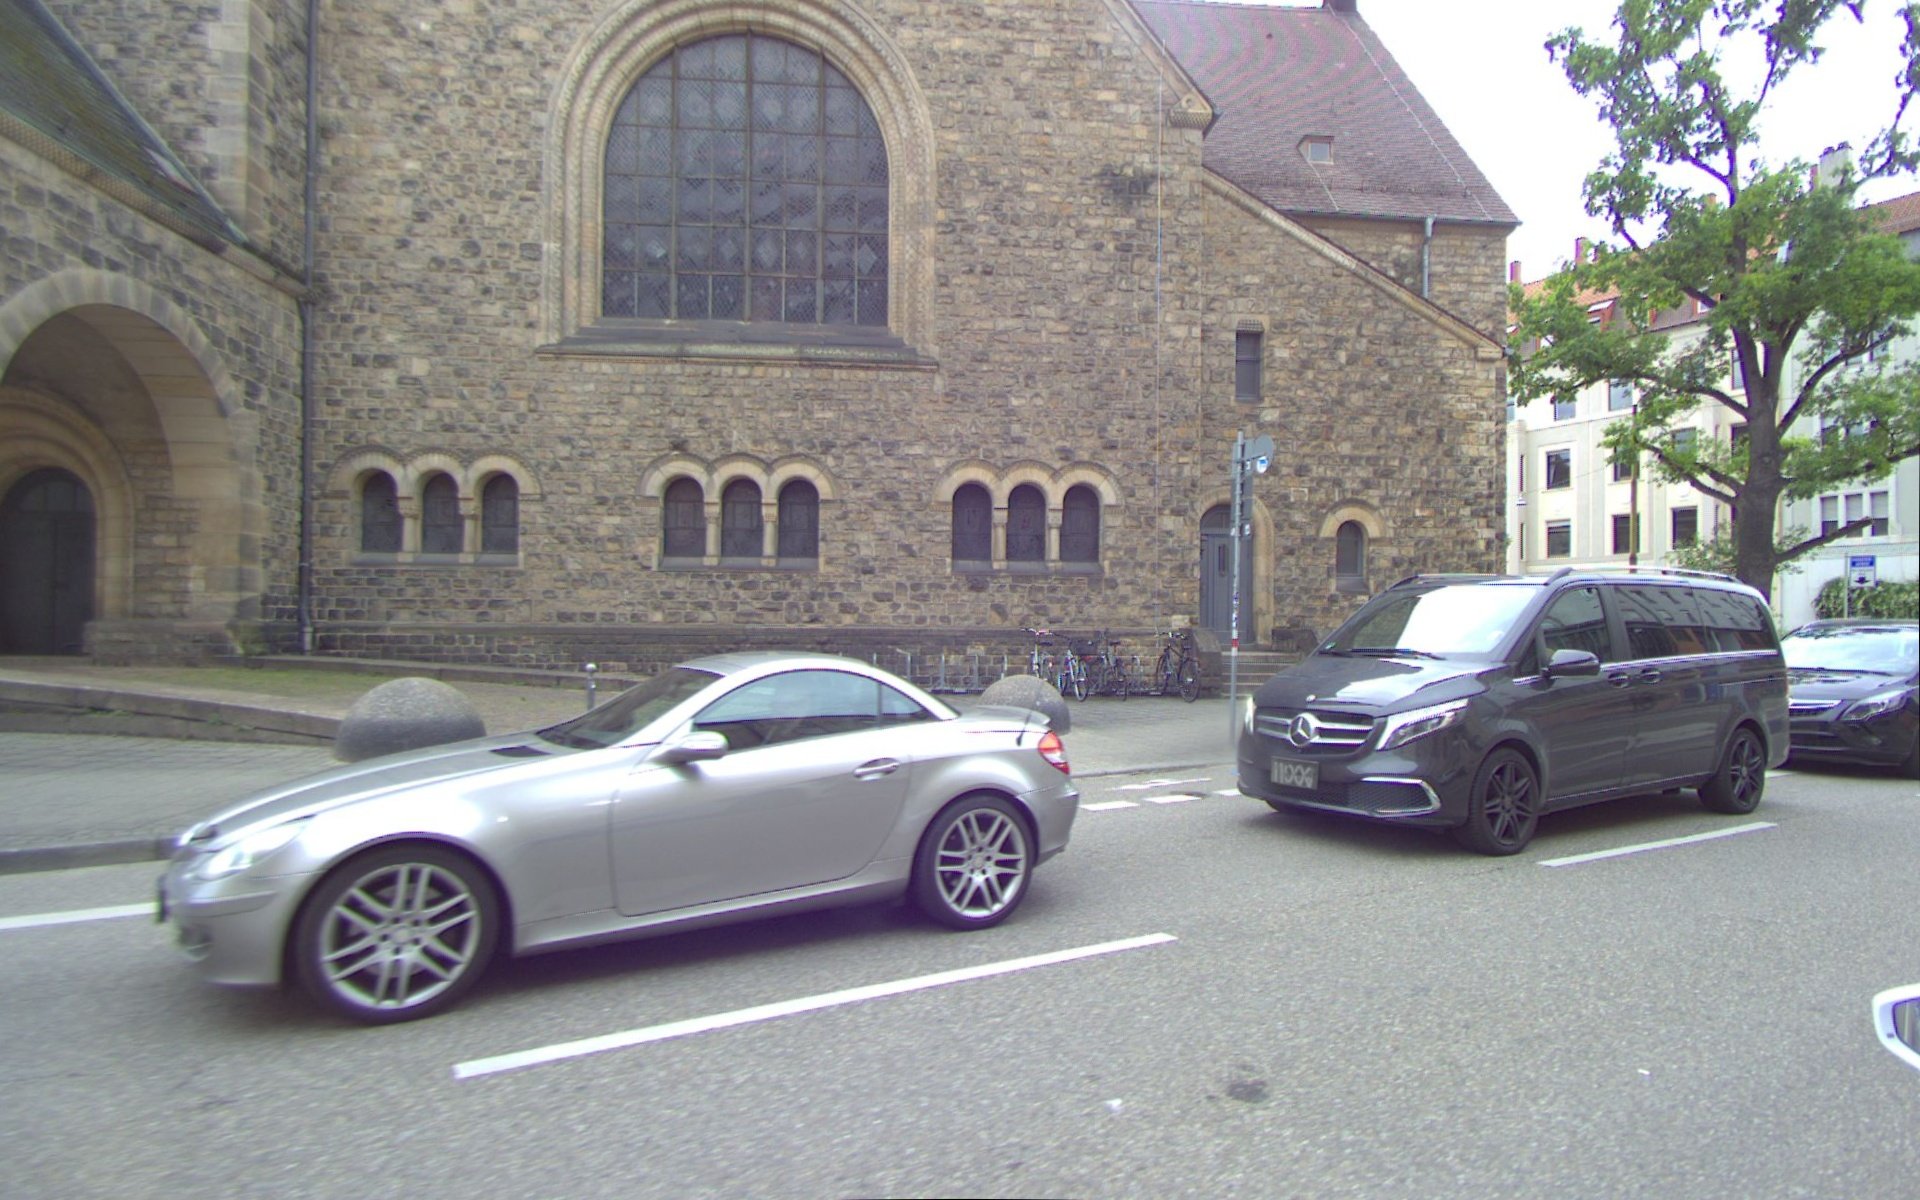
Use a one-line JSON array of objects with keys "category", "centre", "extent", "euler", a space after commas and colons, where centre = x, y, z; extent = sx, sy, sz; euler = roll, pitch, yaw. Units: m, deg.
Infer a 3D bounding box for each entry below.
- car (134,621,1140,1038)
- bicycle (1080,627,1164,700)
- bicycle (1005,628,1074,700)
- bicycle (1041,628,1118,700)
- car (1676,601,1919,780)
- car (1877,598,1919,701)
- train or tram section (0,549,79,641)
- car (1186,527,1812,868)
[{"category": "car", "centre": [-1.232, 0.822, 4.889], "extent": [3.992, 1.303, 1.698], "euler": [2, -4, -29]}, {"category": "bicycle", "centre": [2.794, 1.077, 17.526], "extent": [0.729, 1.182, 1.777], "euler": [1, -1, -17]}, {"category": "bicycle", "centre": [1.321, 1.051, 17.054], "extent": [0.558, 1.140, 1.779], "euler": [1, -1, -16]}, {"category": "bicycle", "centre": [2.032, 1.078, 17.299], "extent": [0.650, 1.145, 1.777], "euler": [1, -1, -16]}, {"category": "car", "centre": [10.367, 0.909, 11.493], "extent": [4.493, 1.706, 1.836], "euler": [1, -1, -30]}, {"category": "car", "centre": [21.434, 1.027, 20.941], "extent": [5.122, 2.040, 2.004], "euler": [1, -1, -30]}, {"category": "train or tram section", "centre": [-44.631, -0.425, 39.327], "extent": [3.558, 4.147, 19.942], "euler": [2, -2, -3]}, {"category": "car", "centre": [4.421, 0.617, 7.969], "extent": [5.220, 1.980, 1.903], "euler": [1, -1, -30]}]
